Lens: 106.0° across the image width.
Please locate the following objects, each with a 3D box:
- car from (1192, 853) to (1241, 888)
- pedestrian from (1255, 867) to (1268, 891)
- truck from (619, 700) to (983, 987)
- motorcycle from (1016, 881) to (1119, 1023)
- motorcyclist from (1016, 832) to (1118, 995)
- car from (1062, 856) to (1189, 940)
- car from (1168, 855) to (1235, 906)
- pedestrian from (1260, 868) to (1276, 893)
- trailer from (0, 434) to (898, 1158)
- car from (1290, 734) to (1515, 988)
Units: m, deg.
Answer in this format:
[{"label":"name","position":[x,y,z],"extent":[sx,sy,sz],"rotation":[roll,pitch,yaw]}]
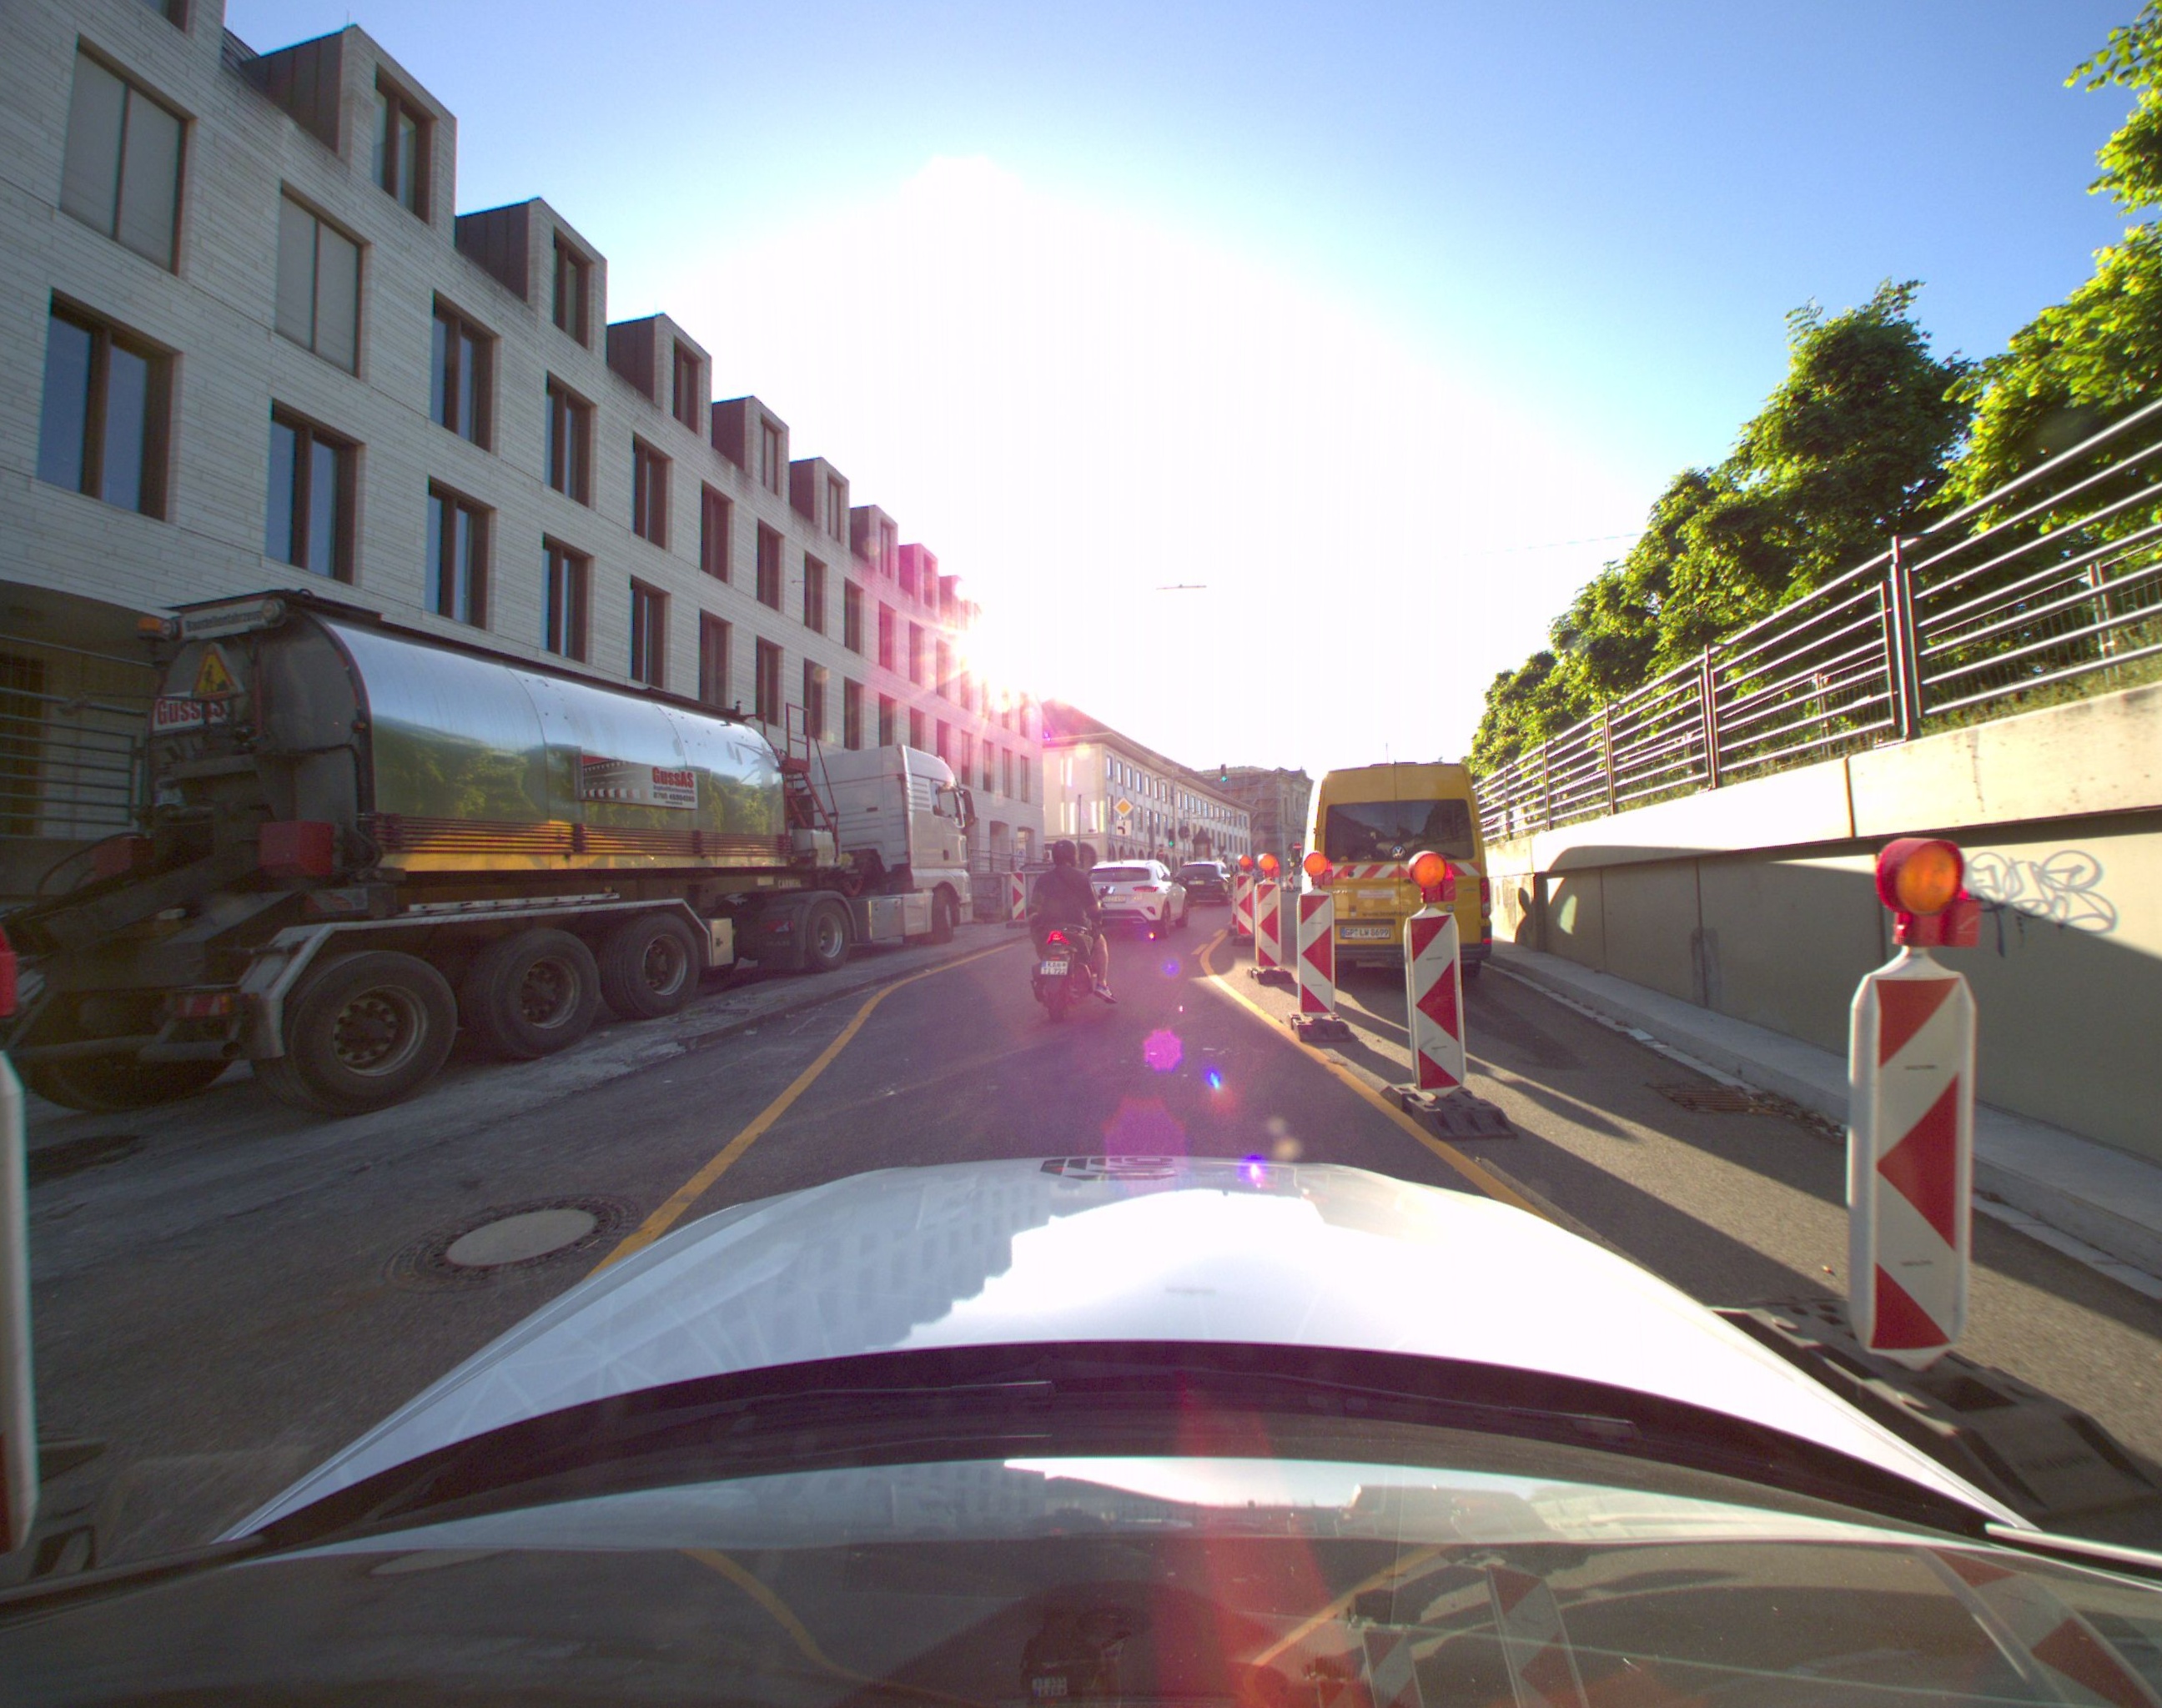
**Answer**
[{"label":"car","position":[7.154,0.869,43.469],"extent":[1.798,1.721,4.160],"rotation":[-1,0,-1]},{"label":"pedestrian","position":[12.351,1.707,55.651],"extent":[0.718,1.624,0.623],"rotation":[-2,-1,19]},{"label":"truck","position":[-4.059,-0.083,13.389],"extent":[2.560,3.489,5.839],"rotation":[-6,-2,15]},{"label":"motorcycle","position":[-0.122,0.918,8.586],"extent":[0.903,1.183,2.578],"rotation":[-1,-1,0]},{"label":"motorcyclist","position":[-0.137,0.585,8.526],"extent":[0.951,1.559,1.238],"rotation":[-1,-1,0]},{"label":"car","position":[1.052,0.800,16.805],"extent":[1.845,1.472,4.016],"rotation":[-1,0,15]},{"label":"car","position":[4.171,0.898,27.633],"extent":[1.761,1.550,4.122],"rotation":[-2,-3,15]},{"label":"pedestrian","position":[13.138,1.842,57.180],"extent":[0.957,1.710,0.679],"rotation":[-2,0,19]},{"label":"trailer","position":[-5.286,-0.175,8.667],"extent":[2.624,3.669,8.780],"rotation":[-6,-2,13]},{"label":"car","position":[4.249,0.127,12.045],"extent":[2.097,2.625,7.013],"rotation":[-2,-1,14]}]
